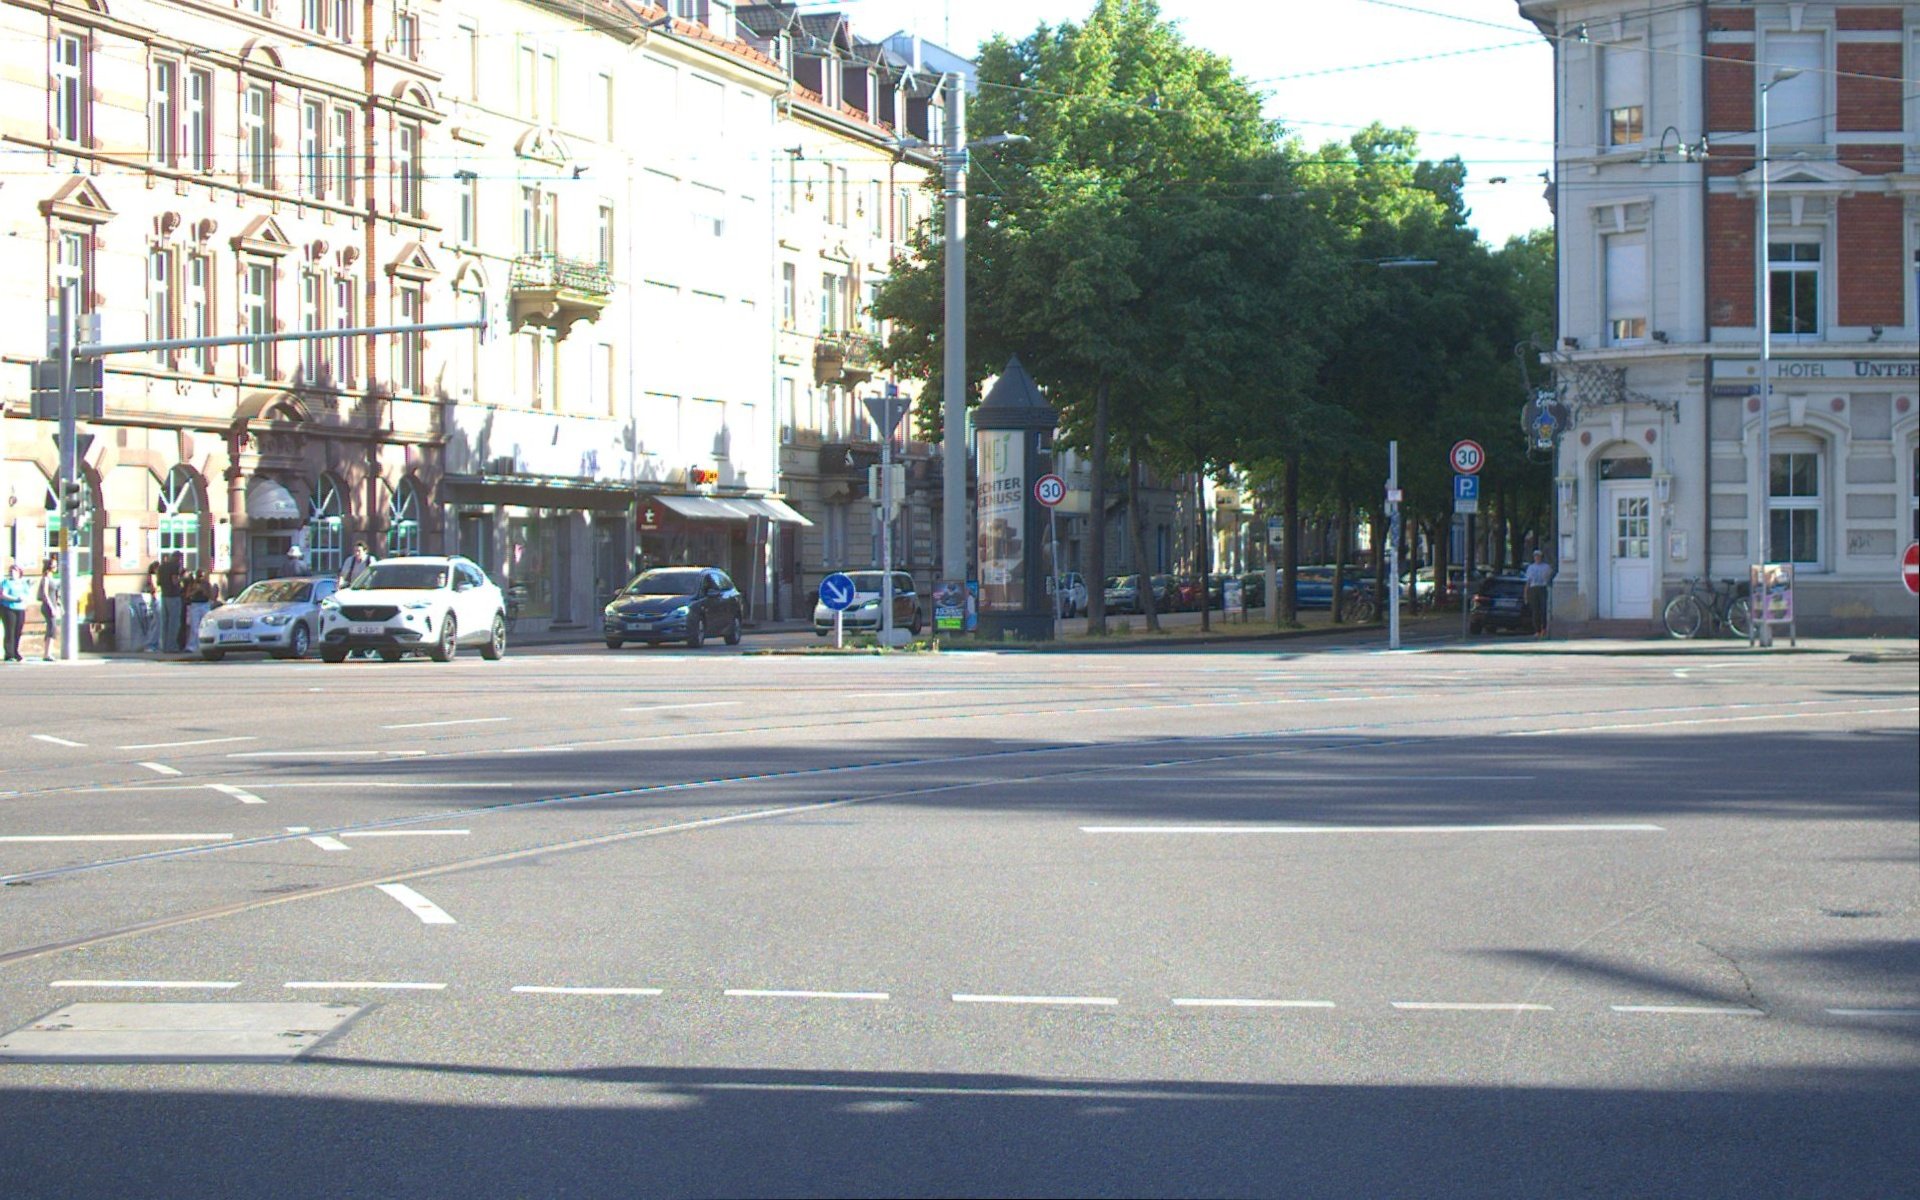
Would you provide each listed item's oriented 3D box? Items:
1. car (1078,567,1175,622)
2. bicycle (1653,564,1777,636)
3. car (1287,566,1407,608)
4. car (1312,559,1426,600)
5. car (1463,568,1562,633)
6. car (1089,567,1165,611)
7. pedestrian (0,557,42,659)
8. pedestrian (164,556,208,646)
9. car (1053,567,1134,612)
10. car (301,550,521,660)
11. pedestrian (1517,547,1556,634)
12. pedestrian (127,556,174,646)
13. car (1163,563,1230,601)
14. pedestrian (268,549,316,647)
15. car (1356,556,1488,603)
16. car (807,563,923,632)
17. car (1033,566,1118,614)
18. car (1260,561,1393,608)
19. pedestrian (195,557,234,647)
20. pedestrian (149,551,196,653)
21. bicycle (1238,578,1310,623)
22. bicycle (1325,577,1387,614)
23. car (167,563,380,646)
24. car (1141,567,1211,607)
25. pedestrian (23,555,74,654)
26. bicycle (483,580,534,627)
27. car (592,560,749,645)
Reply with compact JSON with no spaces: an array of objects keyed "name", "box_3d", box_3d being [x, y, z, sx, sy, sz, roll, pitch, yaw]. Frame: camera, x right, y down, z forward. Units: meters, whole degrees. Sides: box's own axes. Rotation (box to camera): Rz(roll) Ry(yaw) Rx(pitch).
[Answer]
[{"name":"car","box_3d":[4.735,-0.169,97.341,1.995,1.492,4.031,0,1,14]},{"name":"bicycle","box_3d":[12.553,0.002,57.171,1.961,1.186,0.546,0,1,5]},{"name":"car","box_3d":[14.440,-0.497,128.300,3.993,1.540,1.997,0,1,28]},{"name":"car","box_3d":[15.985,-0.803,134.380,3.993,1.540,1.997,0,1,28]},{"name":"car","box_3d":[13.267,-0.002,82.410,1.995,1.492,4.031,0,1,14]},{"name":"car","box_3d":[5.974,-0.404,122.591,1.995,1.492,4.031,0,1,14]},{"name":"pedestrian","box_3d":[-15.406,0.128,55.962,0.675,1.636,0.578,0,1,13]},{"name":"pedestrian","box_3d":[-14.208,0.021,63.084,0.627,1.636,0.537,0,1,8]},{"name":"car","box_3d":[4.582,-0.373,117.355,1.995,1.492,4.031,0,1,14]},{"name":"car","box_3d":[-7.840,0.041,49.473,1.994,1.492,4.346,0,1,7]},{"name":"pedestrian","box_3d":[11.106,-0.187,66.209,0.716,1.664,0.939,0,1,12]},{"name":"pedestrian","box_3d":[-14.734,0.019,62.575,0.631,1.636,0.552,0,1,13]},{"name":"car","box_3d":[9.418,-0.724,136.565,1.995,1.492,4.031,0,1,14]},{"name":"pedestrian","box_3d":[-13.000,-0.038,66.921,0.682,1.902,0.632,0,1,16]},{"name":"car","box_3d":[15.660,-0.698,116.516,3.994,1.540,1.997,0,1,31]},{"name":"car","box_3d":[-2.111,-0.070,77.660,1.719,1.492,3.581,0,1,14]},{"name":"car","box_3d":[3.805,-0.339,112.868,1.995,1.492,4.031,0,1,14]},{"name":"car","box_3d":[12.317,-0.520,115.658,3.993,1.540,1.997,0,1,28]},{"name":"pedestrian","box_3d":[-13.661,0.030,62.996,0.536,1.636,0.552,0,1,9]},{"name":"pedestrian","box_3d":[-14.233,0.029,62.115,0.580,1.830,0.632,0,1,16]},{"name":"bicycle","box_3d":[7.545,0.006,82.753,0.582,1.063,1.949,-1,1,-37]},{"name":"bicycle","box_3d":[11.429,-0.133,99.286,0.582,1.063,1.949,-1,1,-37]},{"name":"car","box_3d":[-11.798,0.059,59.363,1.995,1.350,4.219,0,1,14]},{"name":"car","box_3d":[8.327,-0.498,132.201,1.995,1.492,4.031,0,1,14]},{"name":"pedestrian","box_3d":[-15.171,0.067,57.236,0.631,1.636,0.552,0,1,13]},{"name":"bicycle","box_3d":[-10.433,0.072,79.548,0.495,1.063,1.768,0,1,16]},{"name":"car","box_3d":[-5.338,0.024,63.954,1.774,1.492,4.571,0,1,10]}]
